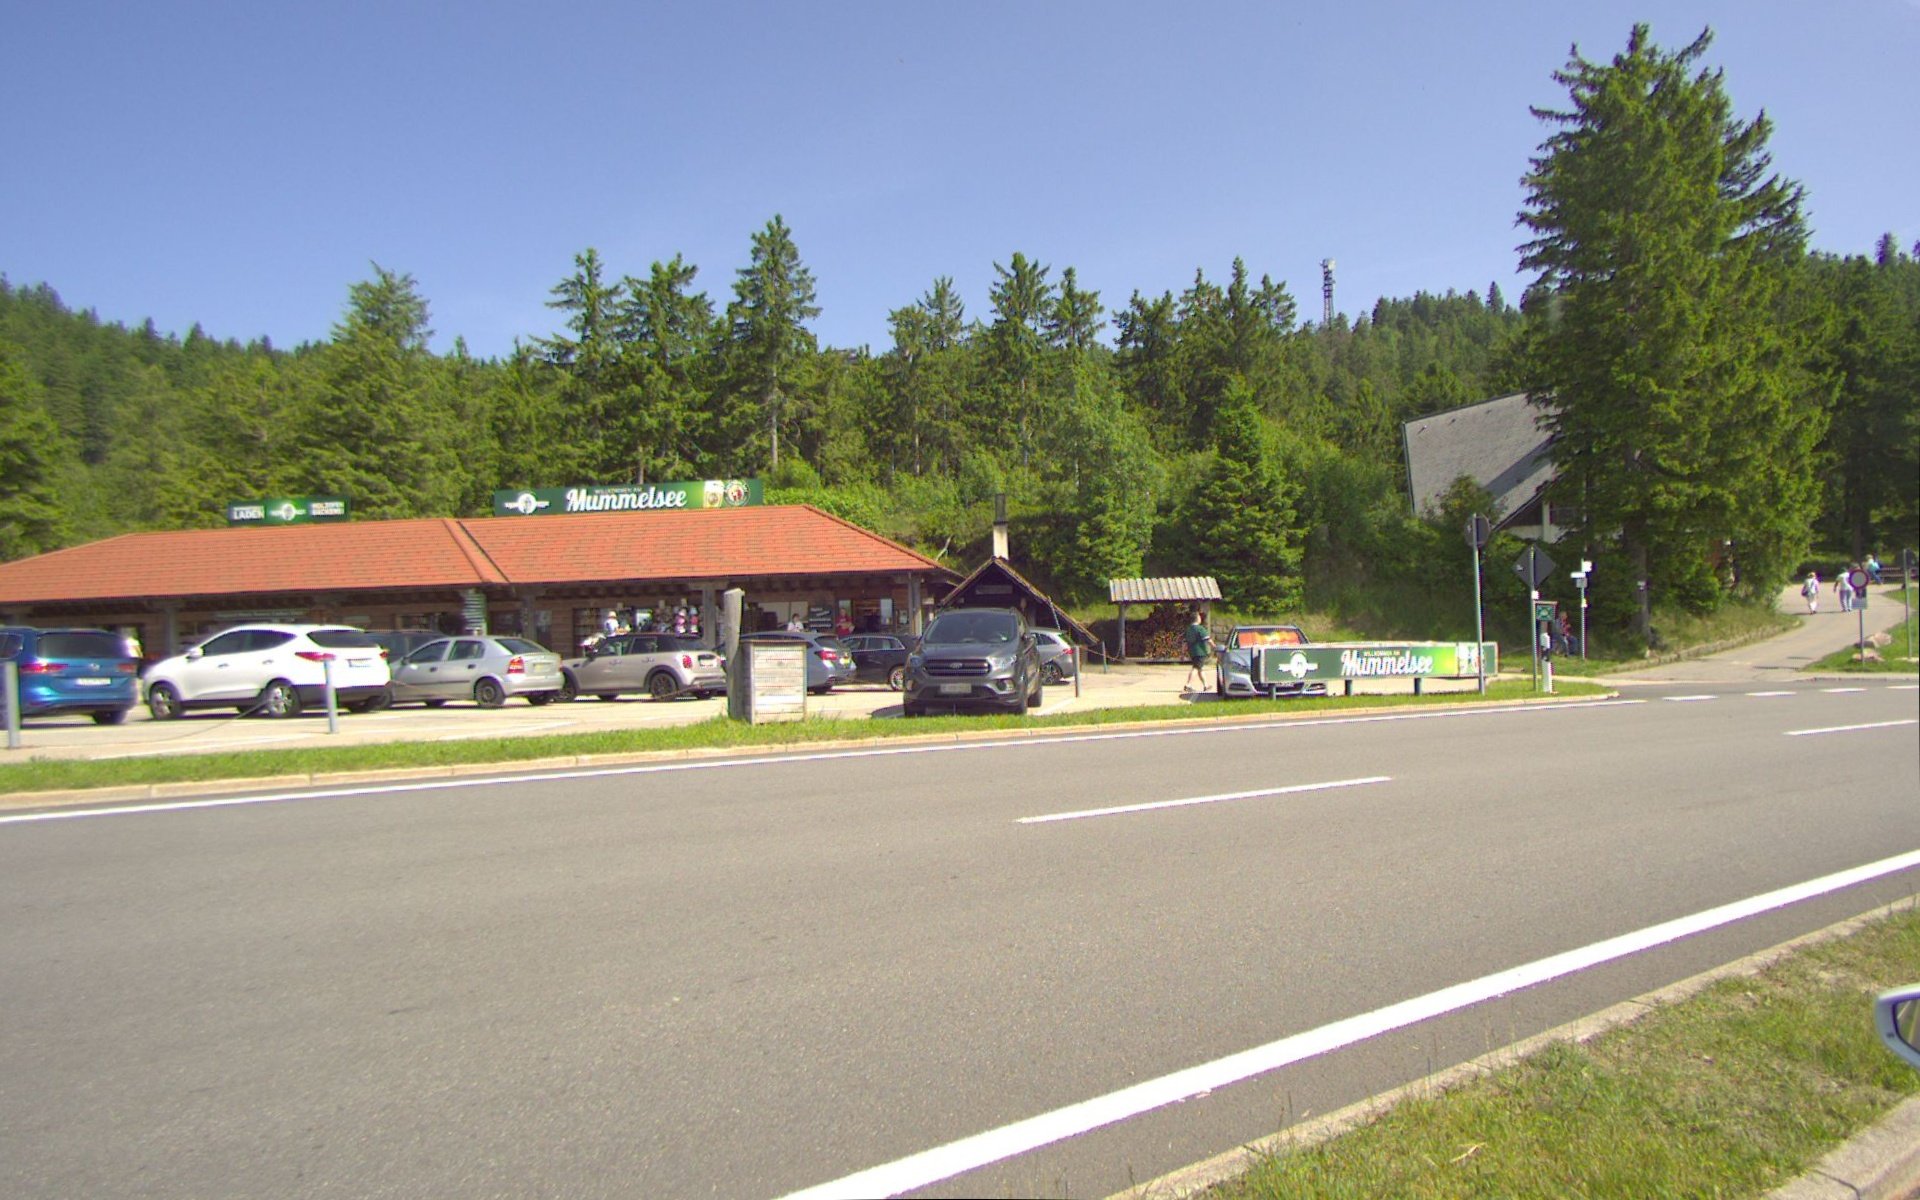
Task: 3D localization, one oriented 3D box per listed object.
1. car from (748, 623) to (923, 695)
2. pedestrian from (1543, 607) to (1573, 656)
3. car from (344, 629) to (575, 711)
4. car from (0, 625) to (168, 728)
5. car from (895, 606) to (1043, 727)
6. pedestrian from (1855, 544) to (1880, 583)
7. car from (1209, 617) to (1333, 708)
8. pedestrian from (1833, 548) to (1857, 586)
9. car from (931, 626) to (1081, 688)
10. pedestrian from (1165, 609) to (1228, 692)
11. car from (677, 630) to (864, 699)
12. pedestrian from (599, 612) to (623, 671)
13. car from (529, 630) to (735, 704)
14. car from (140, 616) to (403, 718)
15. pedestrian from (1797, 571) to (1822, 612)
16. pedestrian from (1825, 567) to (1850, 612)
[{"bbox_3d":[-3.133,1.488,25.640,3.920,1.639,2.001,-2,-1,16],"label":"car"},{"bbox_3d":[19.373,1.026,32.548,0.546,1.553,0.574,-1,-1,-31],"label":"pedestrian"},{"bbox_3d":[-10.028,1.402,20.212,3.944,1.487,1.778,-2,-3,13],"label":"car"},{"bbox_3d":[-15.937,1.286,17.005,3.920,1.594,2.001,-2,-2,14],"label":"car"},{"bbox_3d":[0.288,0.960,15.903,1.753,1.655,4.214,0,-1,9],"label":"car"},{"bbox_3d":[48.682,-1.940,53.860,0.846,2.040,0.809,-1,-1,-39],"label":"pedestrian"},{"bbox_3d":[5.654,1.107,18.683,1.708,1.460,3.973,-2,-2,11],"label":"car"},{"bbox_3d":[48.877,-1.801,55.449,0.932,2.040,0.791,-1,-1,-39],"label":"pedestrian"},{"bbox_3d":[1.299,1.557,27.651,3.919,1.514,1.686,-2,0,9],"label":"car"},{"bbox_3d":[5.256,1.107,22.322,0.949,1.757,0.892,-1,-1,-31],"label":"pedestrian"},{"bbox_3d":[-4.373,1.503,23.342,3.920,1.438,1.686,-2,-3,15],"label":"car"},{"bbox_3d":[-11.362,1.352,32.700,0.517,1.898,0.547,0,-1,12],"label":"pedestrian"},{"bbox_3d":[-7.030,1.442,21.592,3.920,1.438,1.686,-2,-3,15],"label":"car"},{"bbox_3d":[-12.563,1.229,18.411,3.949,1.693,1.778,-2,-3,13],"label":"car"},{"bbox_3d":[35.626,-0.355,42.110,0.637,1.688,0.648,2,-3,-37],"label":"pedestrian"},{"bbox_3d":[36.590,-0.429,41.874,0.637,1.822,0.648,2,-3,-37],"label":"pedestrian"}]
